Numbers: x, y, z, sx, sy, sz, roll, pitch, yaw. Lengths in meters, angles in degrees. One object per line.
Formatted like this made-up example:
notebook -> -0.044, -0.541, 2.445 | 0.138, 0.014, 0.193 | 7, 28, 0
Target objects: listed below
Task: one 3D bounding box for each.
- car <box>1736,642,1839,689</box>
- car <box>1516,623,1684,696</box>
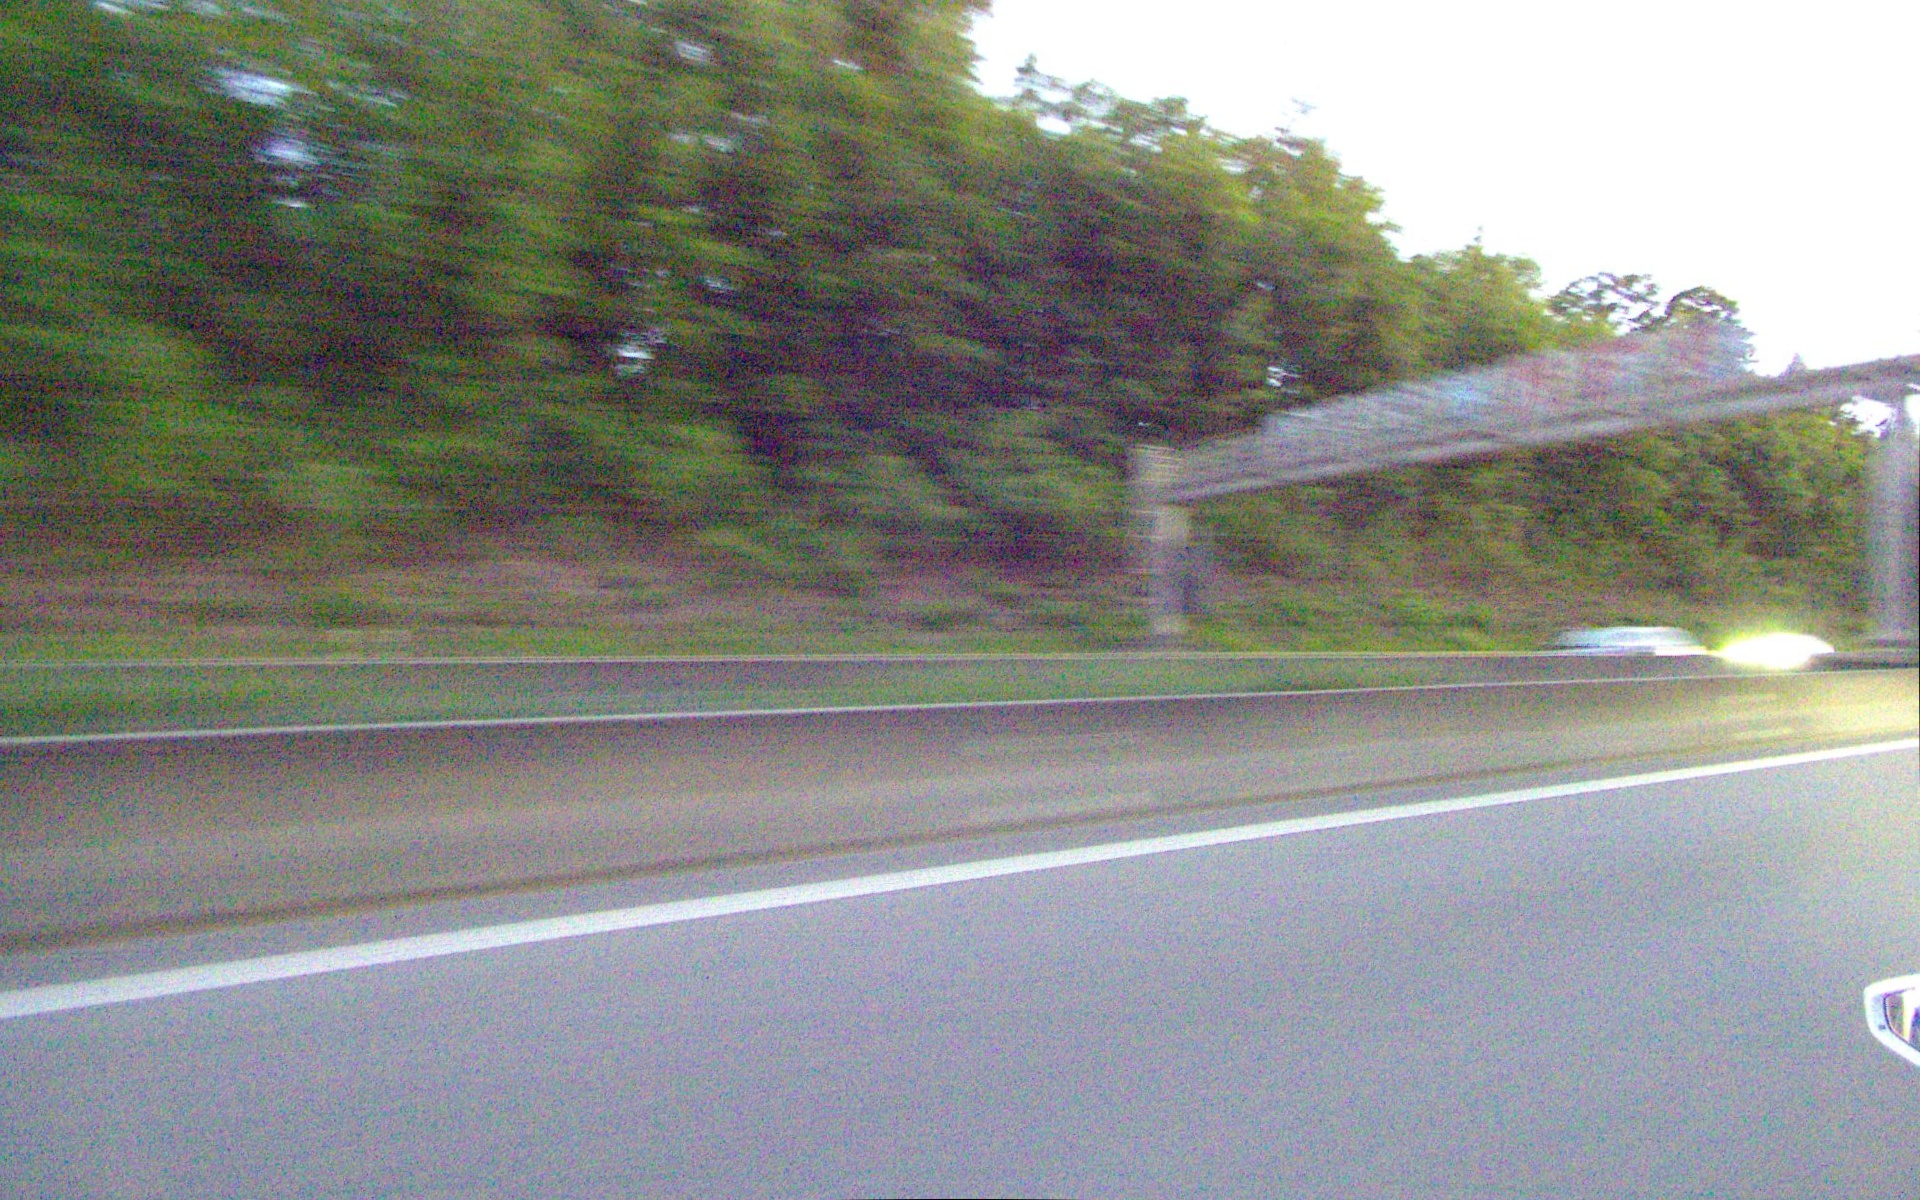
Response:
car -> 34.351, 2.671, 41.664 | 4.954, 1.789, 1.906 | 2, -1, -33
car -> 17.267, 1.552, 27.034 | 4.953, 1.789, 1.906 | 2, -1, -32
